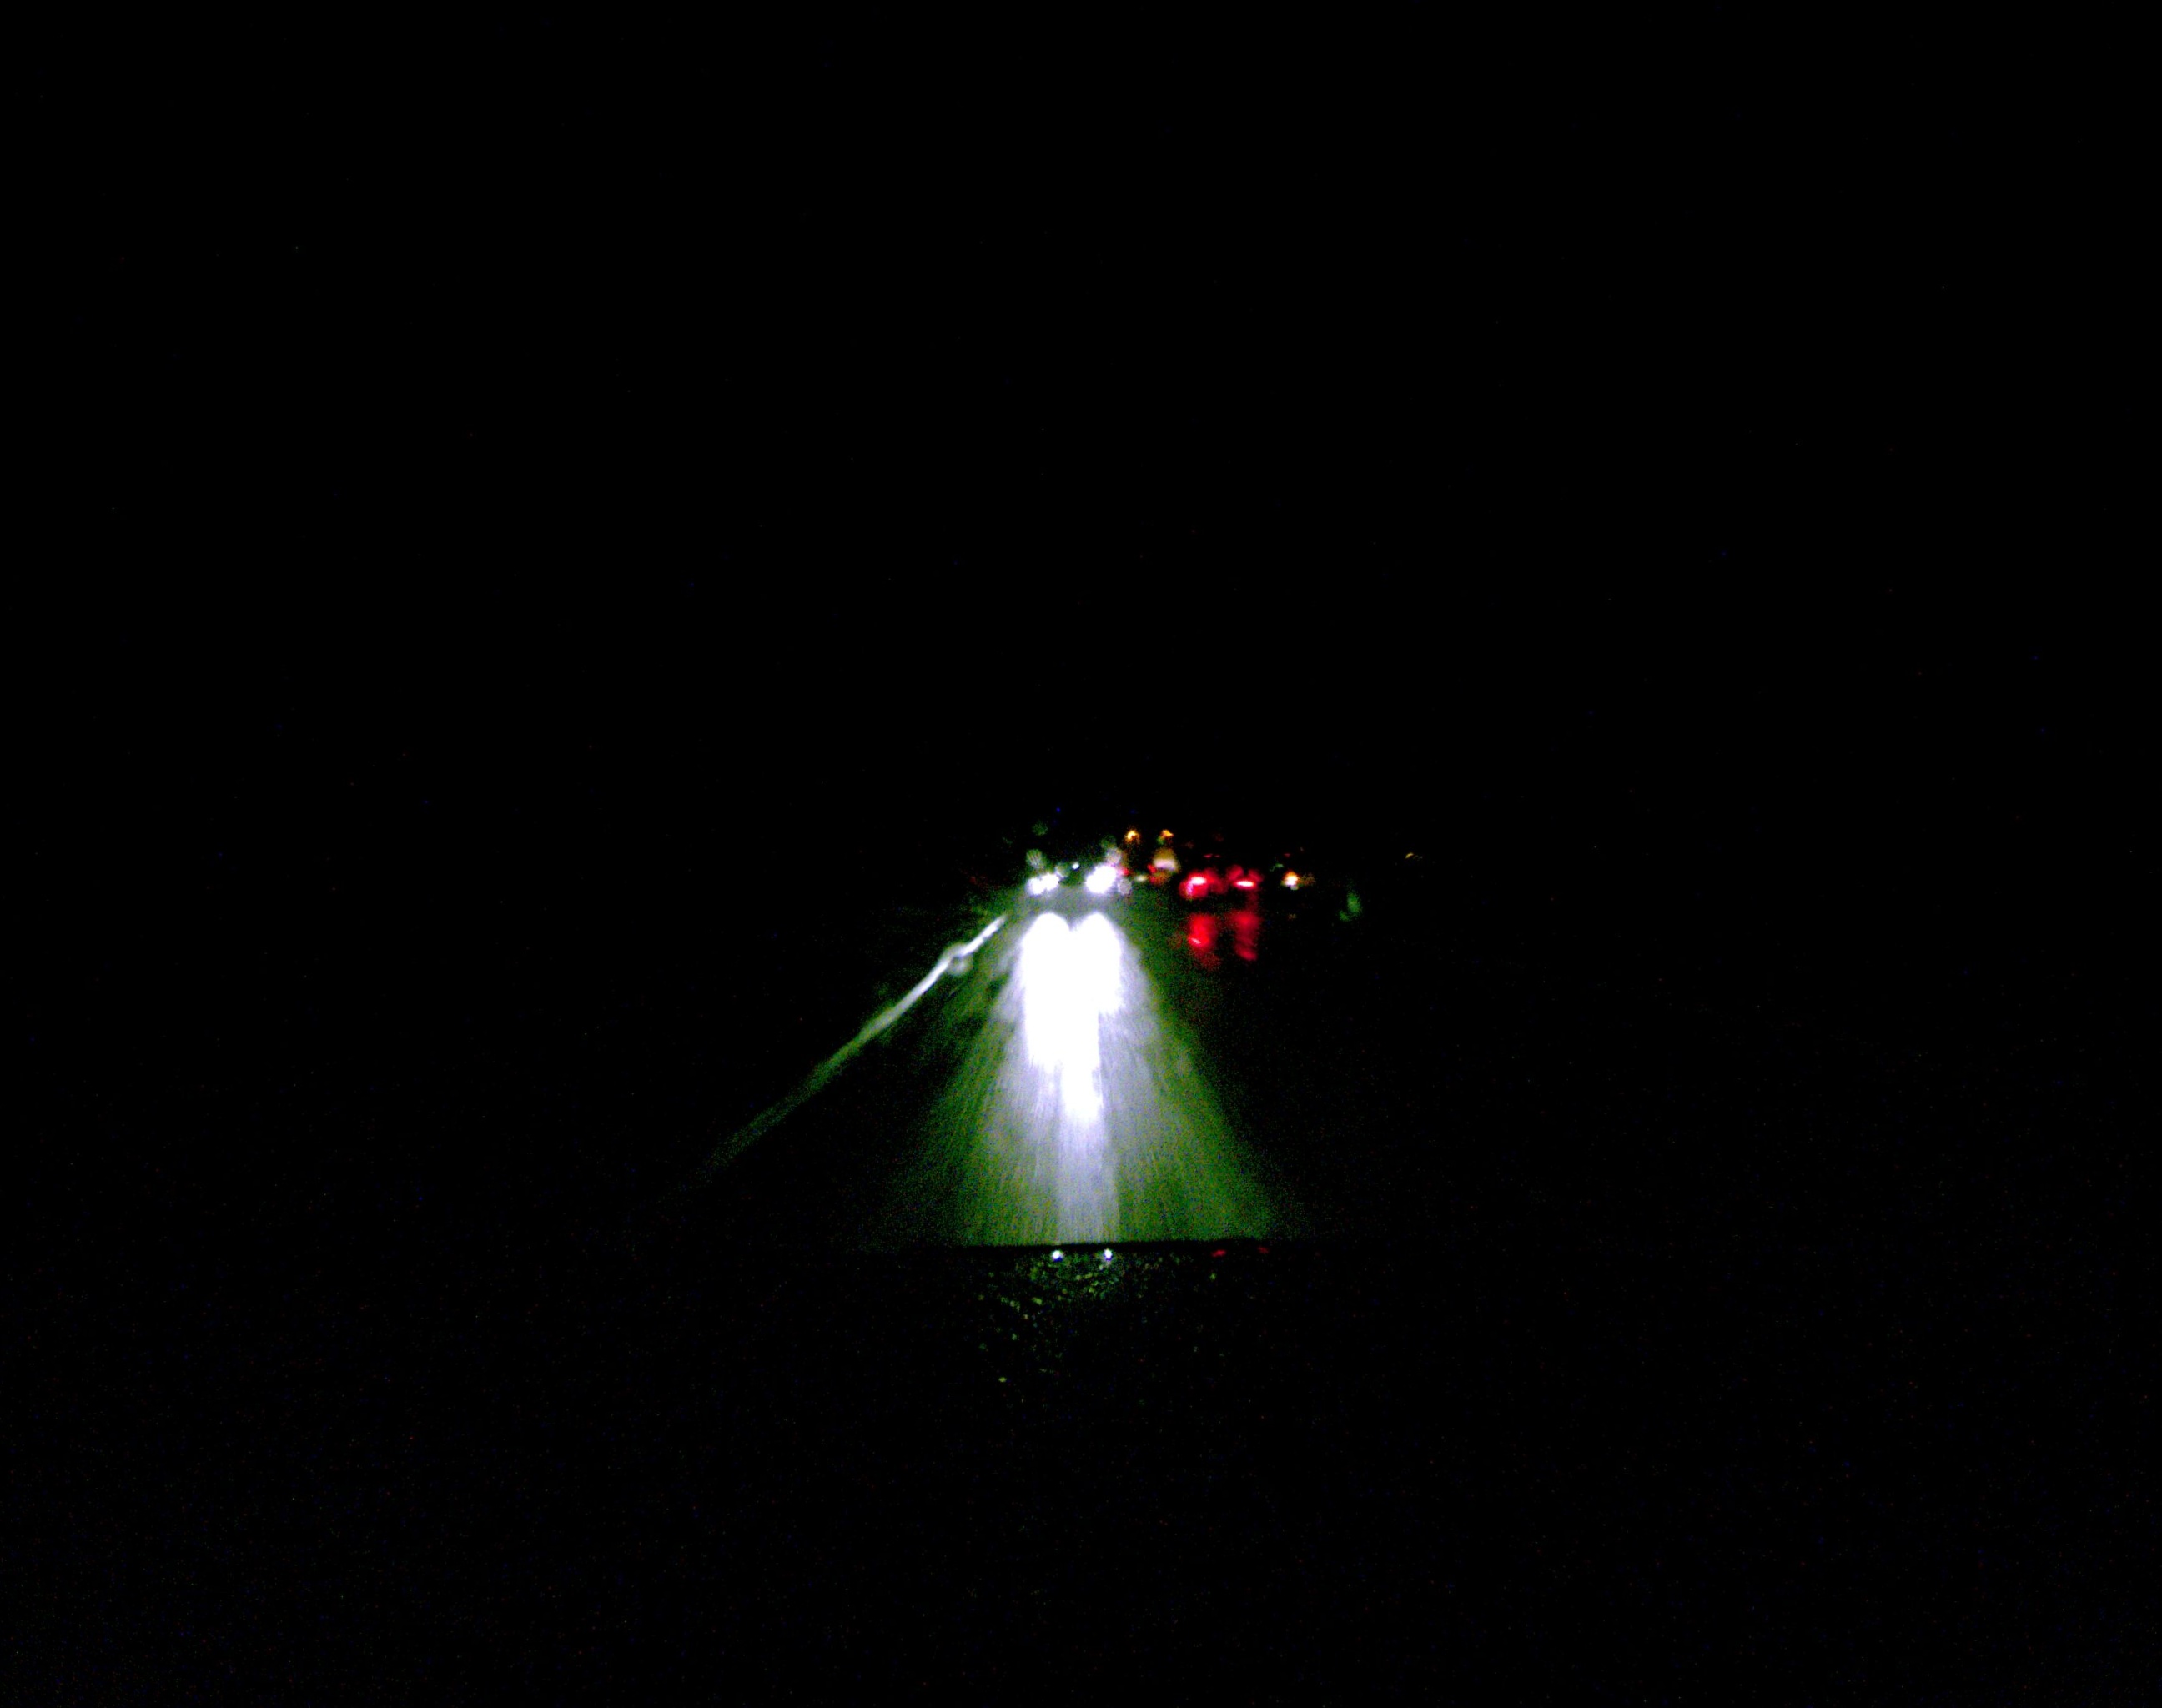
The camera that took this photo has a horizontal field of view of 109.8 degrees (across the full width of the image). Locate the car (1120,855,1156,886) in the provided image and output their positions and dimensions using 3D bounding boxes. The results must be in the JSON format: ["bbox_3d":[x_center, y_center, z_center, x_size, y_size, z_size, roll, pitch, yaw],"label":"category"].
[{"bbox_3d":[3.021,0.866,40.896,1.667,1.551,3.560,1,0,0],"label":"car"}]

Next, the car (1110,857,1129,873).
[{"bbox_3d":[3.491,0.970,69.318,1.602,1.416,3.552,1,0,0],"label":"car"}]

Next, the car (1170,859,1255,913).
[{"bbox_3d":[3.813,0.889,22.775,1.760,1.397,4.488,-2,-1,1],"label":"car"}]

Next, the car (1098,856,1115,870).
[{"bbox_3d":[2.881,0.979,85.627,1.807,1.563,4.191,1,0,1],"label":"car"}]

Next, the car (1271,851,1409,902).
[{"bbox_3d":[10.511,0.891,31.091,4.945,1.827,1.934,2,0,2],"label":"car"}]

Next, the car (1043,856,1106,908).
[{"bbox_3d":[-0.174,0.868,25.138,1.901,1.552,4.000,1,0,1],"label":"car"}]
